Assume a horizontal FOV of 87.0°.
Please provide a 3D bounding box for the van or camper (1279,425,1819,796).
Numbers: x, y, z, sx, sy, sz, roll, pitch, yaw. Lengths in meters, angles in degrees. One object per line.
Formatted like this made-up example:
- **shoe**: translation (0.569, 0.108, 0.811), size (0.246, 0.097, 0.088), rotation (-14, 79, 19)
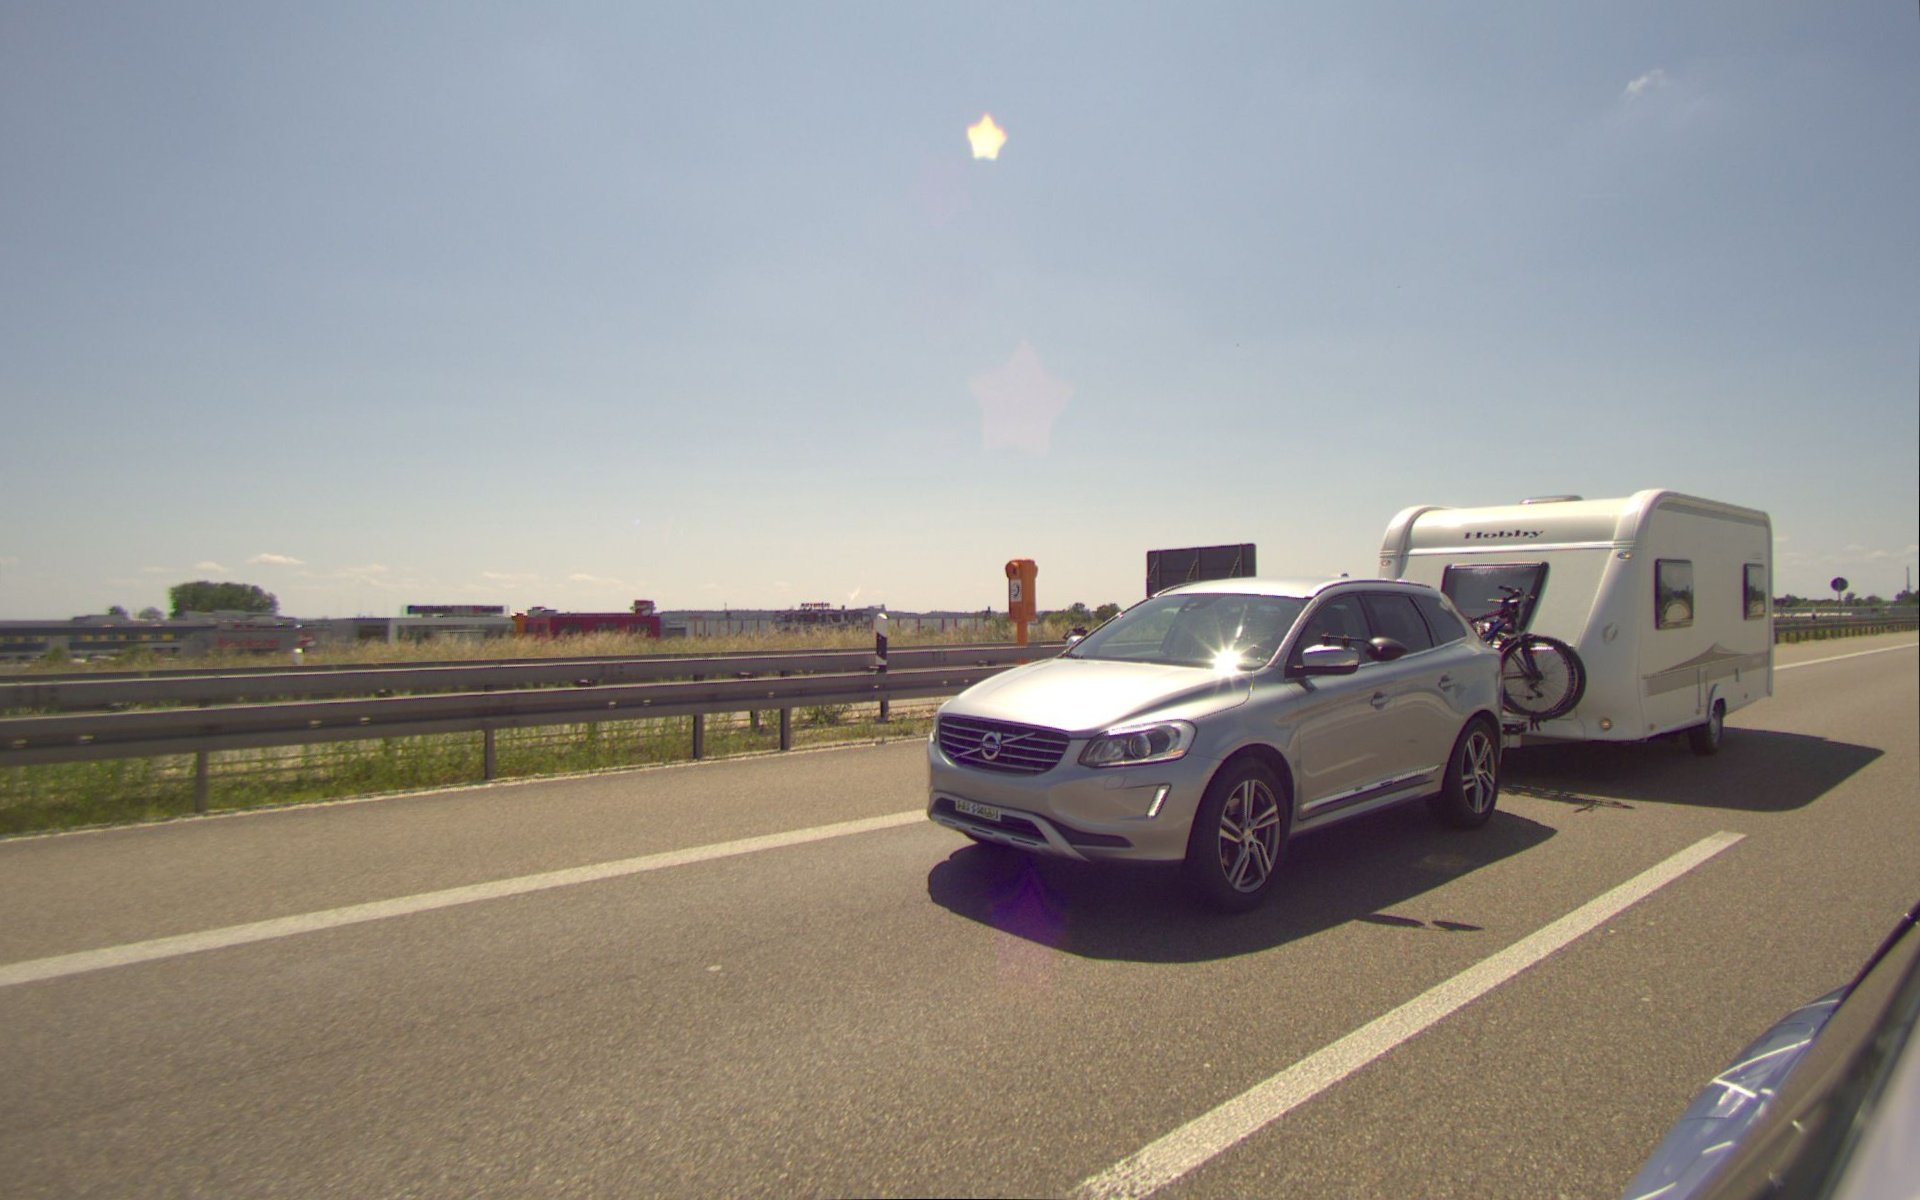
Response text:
- **van or camper**: translation (6.596, 0.098, 10.644), size (7.678, 2.626, 2.517), rotation (1, -1, -40)

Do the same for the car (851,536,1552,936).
- **car**: translation (1.830, 0.566, 6.454), size (4.817, 1.643, 1.884), rotation (0, 0, -40)
